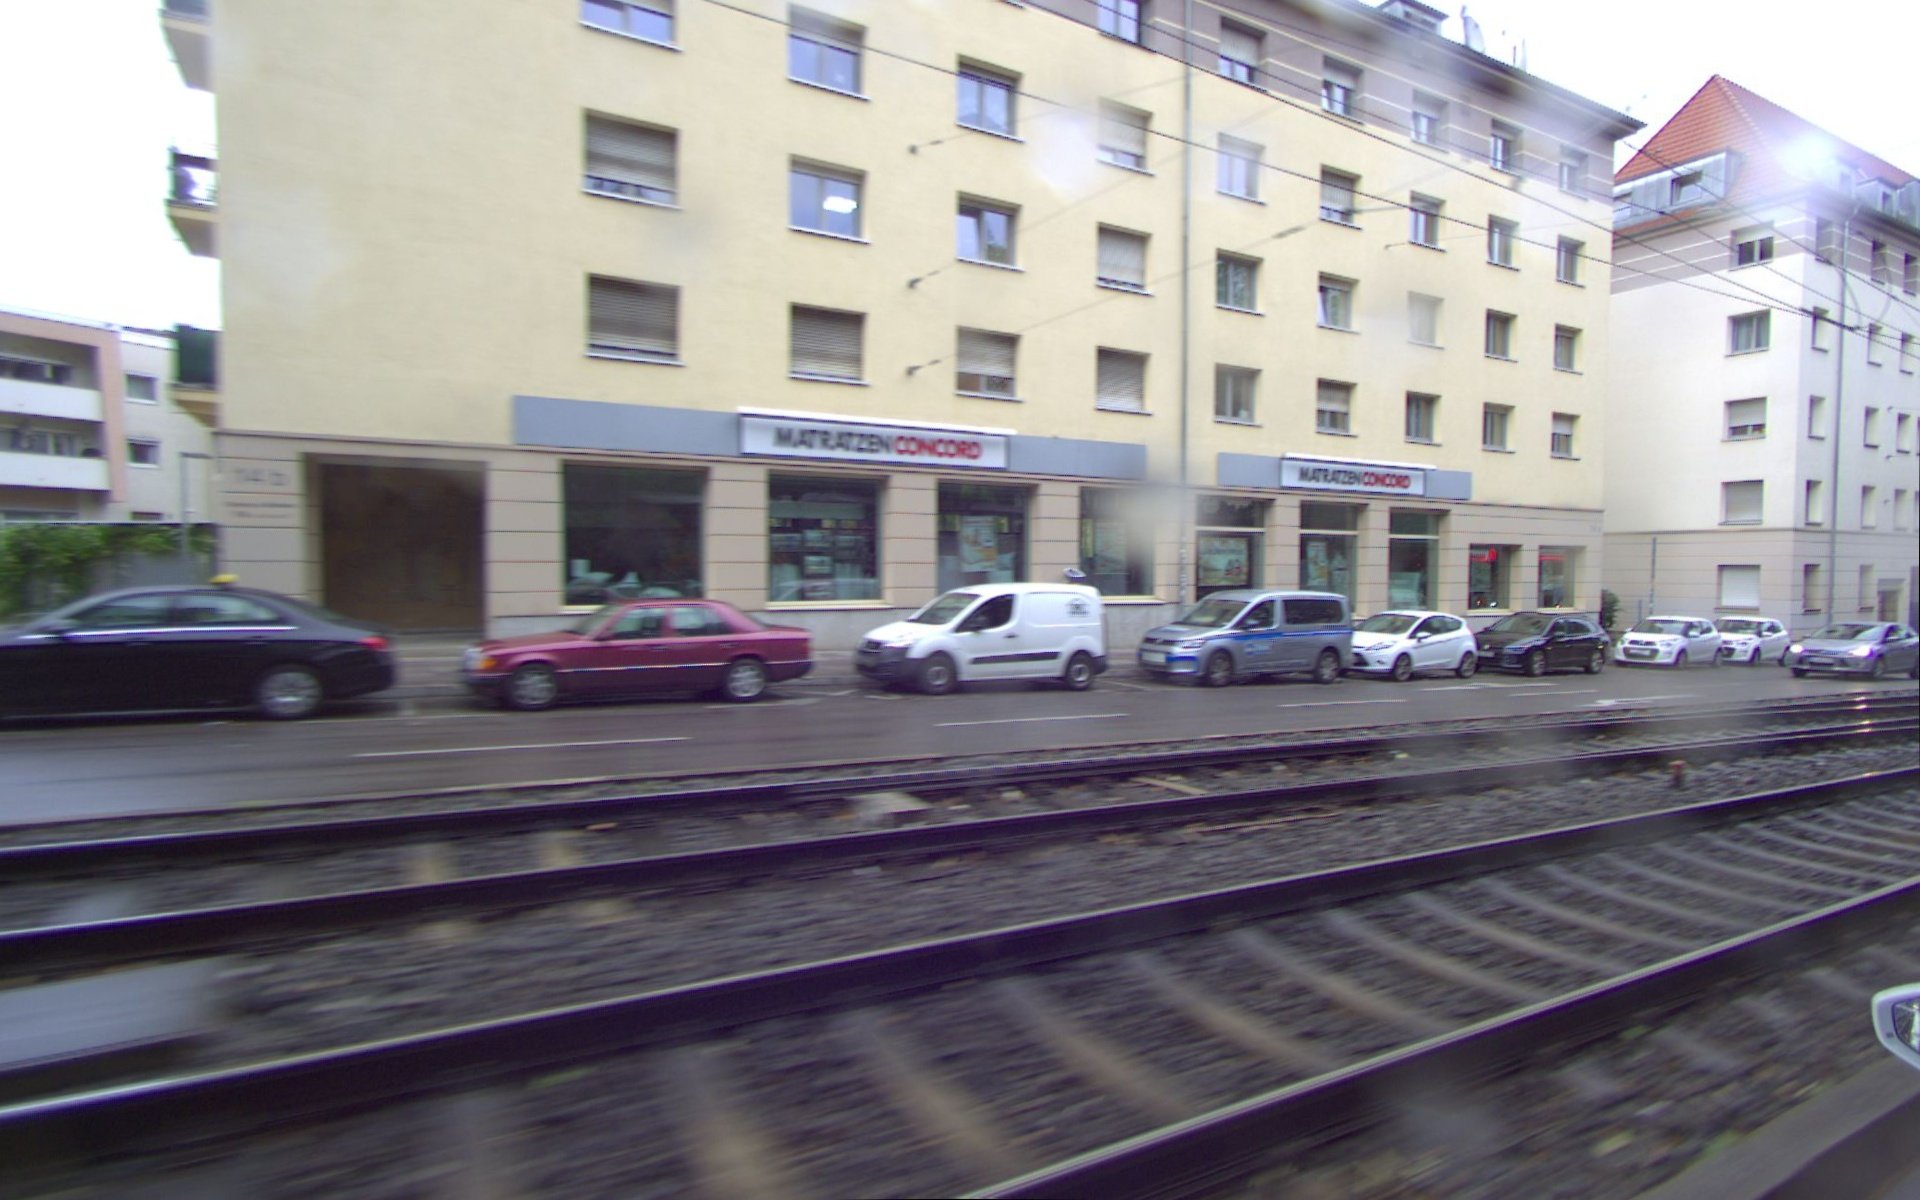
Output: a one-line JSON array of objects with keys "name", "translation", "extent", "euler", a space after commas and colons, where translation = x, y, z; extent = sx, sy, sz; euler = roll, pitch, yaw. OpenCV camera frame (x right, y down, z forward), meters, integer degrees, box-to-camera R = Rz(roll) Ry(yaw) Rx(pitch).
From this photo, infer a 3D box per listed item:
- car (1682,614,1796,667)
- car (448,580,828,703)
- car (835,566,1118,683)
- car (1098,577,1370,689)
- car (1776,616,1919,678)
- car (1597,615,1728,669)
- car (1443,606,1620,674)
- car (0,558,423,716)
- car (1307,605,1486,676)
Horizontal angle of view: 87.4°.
[{"name": "car", "translation": [24.398, 1.271, 31.447], "extent": [3.503, 1.469, 1.698], "euler": [2, 2, -33]}, {"name": "car", "translation": [-4.445, 0.567, 14.085], "extent": [4.775, 1.451, 1.842], "euler": [2, 1, -30]}, {"name": "car", "translation": [0.310, 0.430, 16.896], "extent": [4.406, 1.739, 1.859], "euler": [2, 0, -29]}, {"name": "car", "translation": [5.516, 0.613, 19.952], "extent": [5.397, 1.930, 1.983], "euler": [1, 2, -31]}, {"name": "car", "translation": [23.290, 1.205, 26.148], "extent": [4.228, 1.482, 1.705], "euler": [2, -1, -29]}, {"name": "car", "translation": [20.312, 1.190, 29.018], "extent": [3.892, 1.415, 1.694], "euler": [1, 1, -32]}, {"name": "car", "translation": [14.268, 0.979, 25.028], "extent": [4.529, 1.519, 1.804], "euler": [2, 1, -31]}, {"name": "car", "translation": [-8.882, 0.386, 11.141], "extent": [4.944, 1.528, 1.838], "euler": [2, -1, -36]}, {"name": "car", "translation": [9.795, 0.924, 22.471], "extent": [4.005, 1.458, 1.682], "euler": [1, -4, -33]}]
